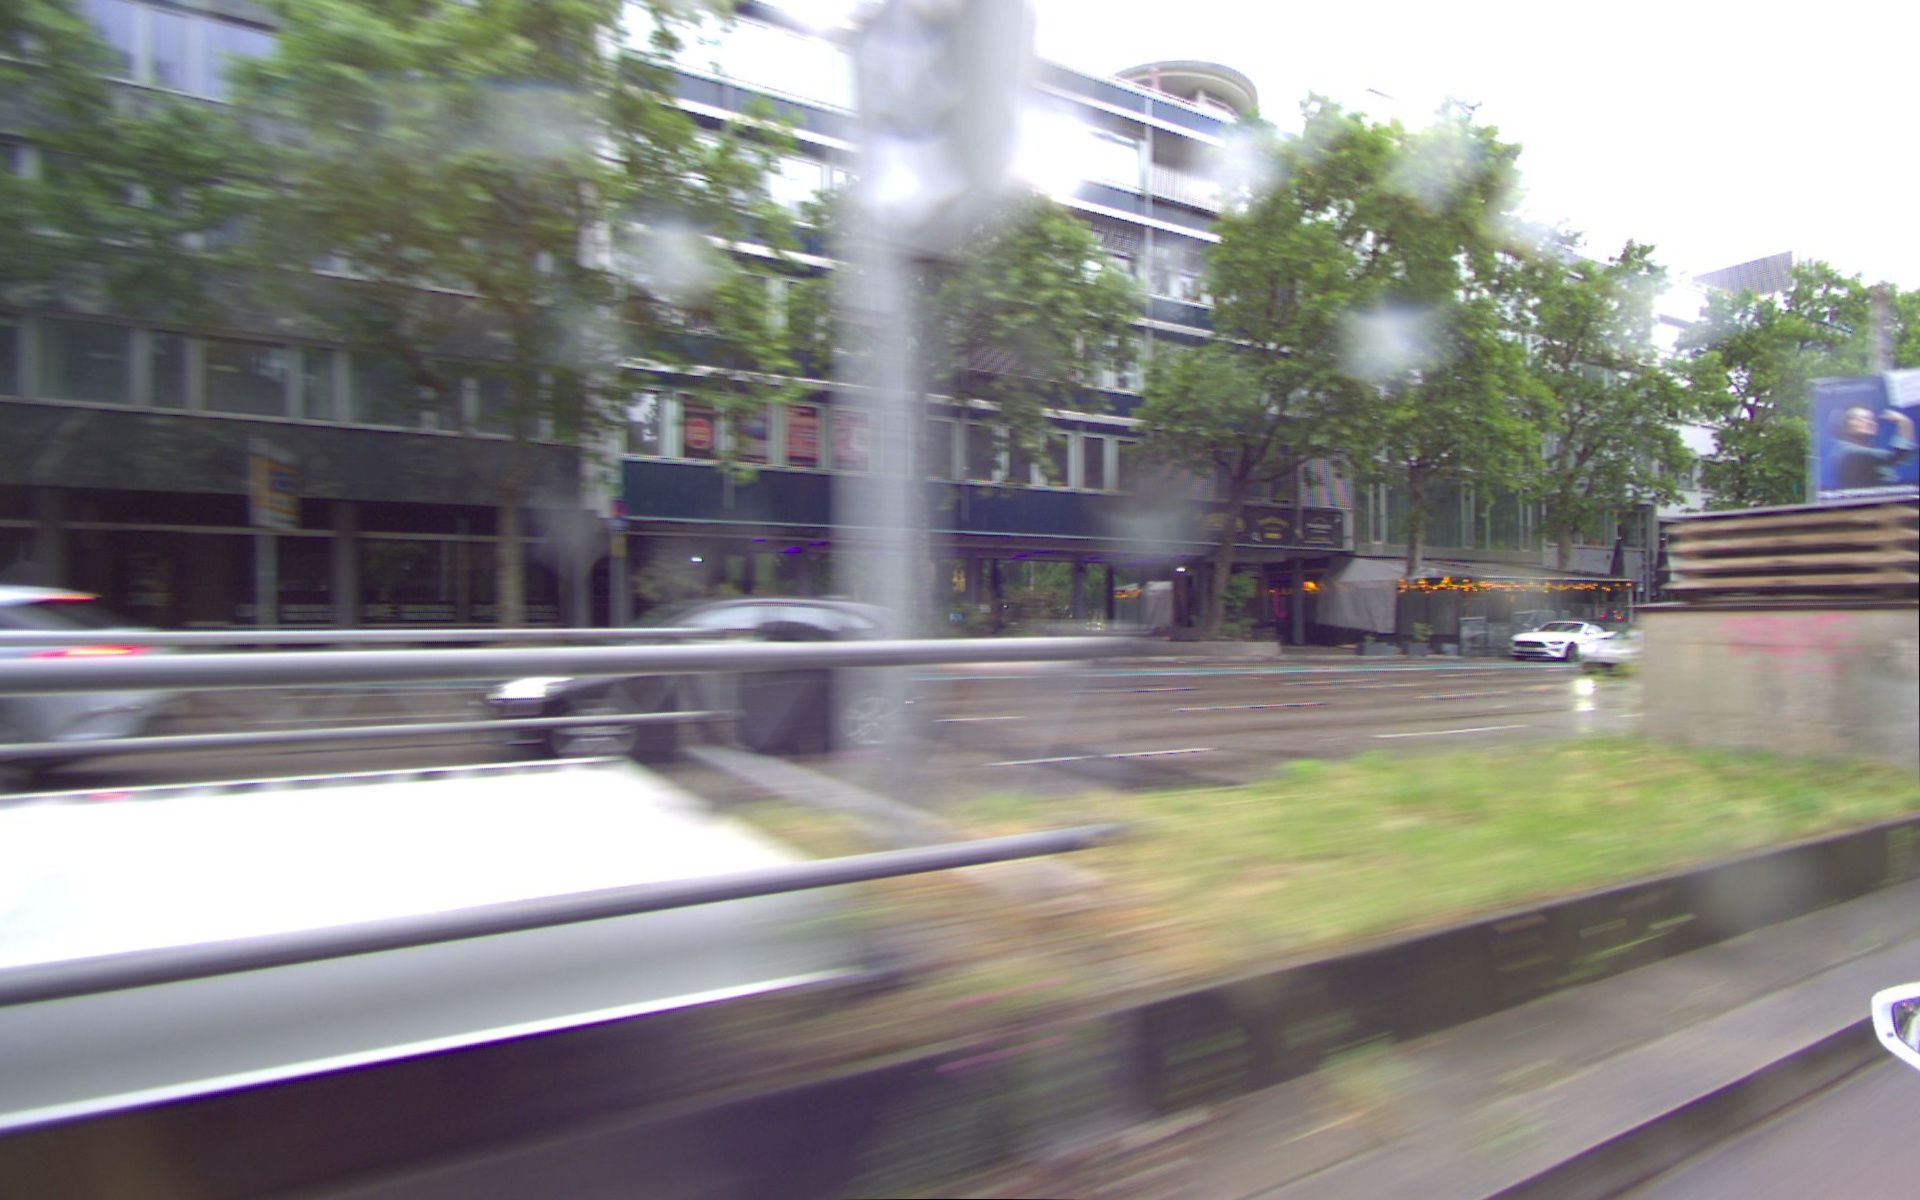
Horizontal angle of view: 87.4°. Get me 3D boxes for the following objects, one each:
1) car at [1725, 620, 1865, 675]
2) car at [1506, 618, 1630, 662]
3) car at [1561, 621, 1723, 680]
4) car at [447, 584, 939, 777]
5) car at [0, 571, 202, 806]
[{"bbox_3d":[27.341,1.516,32.871,4.485,1.636,1.755,1,1,-25],"label":"car"},{"bbox_3d":[20.617,1.305,34.020,4.627,1.371,1.552,1,1,-30],"label":"car"},{"bbox_3d":[18.588,1.306,27.314,4.904,1.428,1.955,1,0,-33],"label":"car"},{"bbox_3d":[-2.622,0.685,10.163,4.488,1.573,1.905,1,0,-31],"label":"car"},{"bbox_3d":[-8.263,0.581,6.802,4.774,1.594,1.727,1,0,-30],"label":"car"}]
